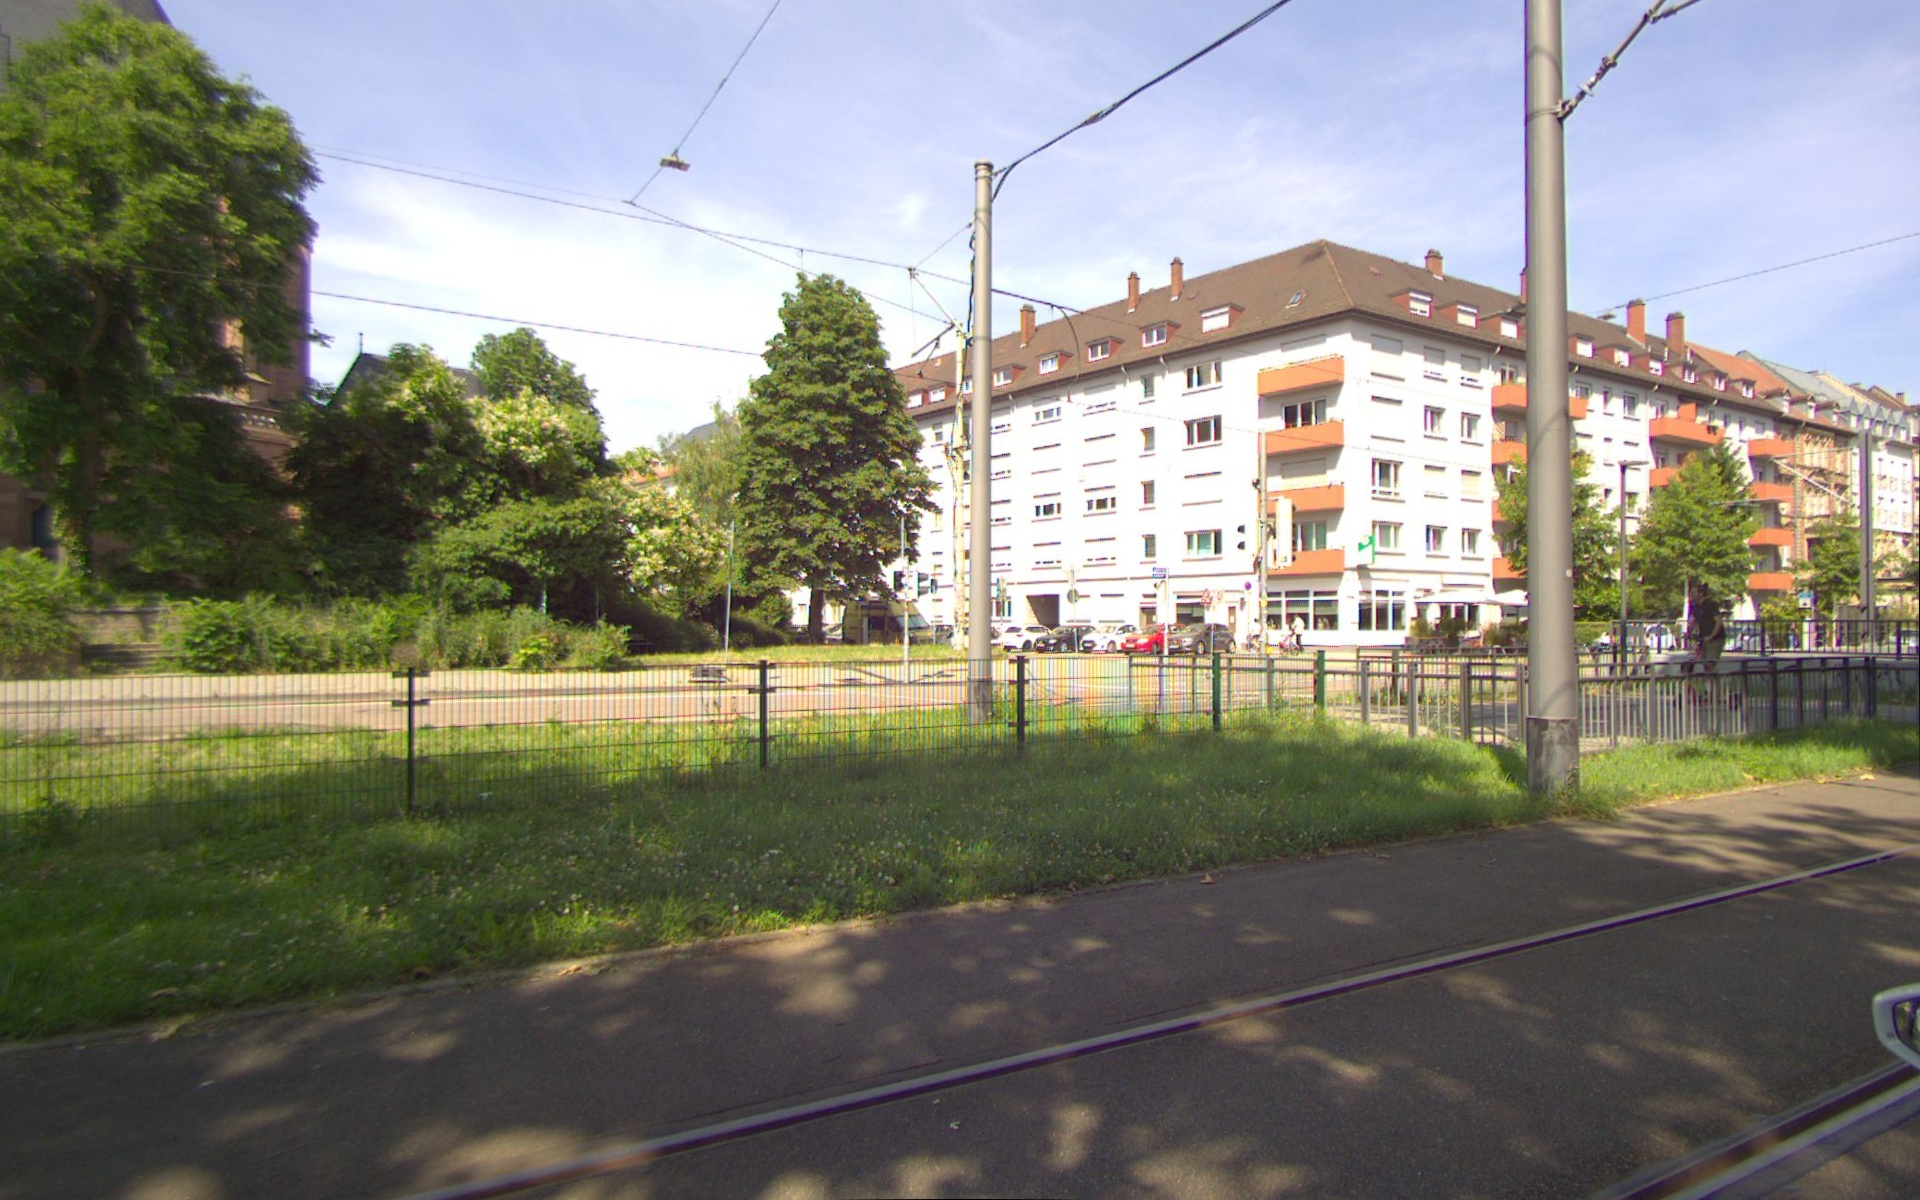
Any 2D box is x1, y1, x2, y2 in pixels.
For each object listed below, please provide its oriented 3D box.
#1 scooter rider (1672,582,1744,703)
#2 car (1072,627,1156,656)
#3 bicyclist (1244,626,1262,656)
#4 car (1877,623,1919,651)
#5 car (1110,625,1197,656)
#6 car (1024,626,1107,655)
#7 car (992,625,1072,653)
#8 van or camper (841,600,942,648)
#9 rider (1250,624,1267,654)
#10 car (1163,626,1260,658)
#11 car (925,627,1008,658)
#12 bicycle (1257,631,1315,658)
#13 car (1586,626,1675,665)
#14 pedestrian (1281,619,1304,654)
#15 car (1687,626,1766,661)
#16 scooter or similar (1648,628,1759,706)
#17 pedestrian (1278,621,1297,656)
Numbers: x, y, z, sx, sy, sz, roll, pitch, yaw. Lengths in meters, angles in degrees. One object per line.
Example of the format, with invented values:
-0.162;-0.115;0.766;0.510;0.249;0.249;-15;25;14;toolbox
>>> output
11.944;0.676;16.059;0.655;1.891;0.664;0;-1;6;scooter rider
7.803;2.070;50.750;4.129;1.425;1.918;1;-2;-38;car
13.975;1.938;47.877;0.616;1.442;0.587;-1;-1;44;bicyclist
53.088;2.074;56.285;3.961;1.518;1.758;1;-1;-36;car
9.346;1.938;48.436;4.129;1.425;1.918;1;-2;-38;car
5.513;2.079;52.314;4.129;1.425;1.918;1;-2;-38;car
3.948;2.105;54.592;4.129;1.425;1.918;1;-1;-38;car
-3.627;1.244;52.112;2.228;2.360;5.704;1;-2;-42;van or camper
14.367;1.875;48.320;0.616;1.442;0.587;-1;-1;44;rider
11.515;1.883;45.843;4.598;1.394;1.821;1;-2;-36;car
0.286;1.987;47.678;3.702;1.425;1.823;-1;-2;44;car
14.277;1.919;43.978;2.779;1.152;0.905;1;-1;-34;bicycle
27.412;1.845;41.026;3.961;1.518;1.759;1;-3;-36;car
15.419;1.685;46.526;0.846;1.593;0.688;-1;-1;36;pedestrian
34.678;1.965;45.399;3.961;1.518;1.759;1;-3;-36;car
11.865;1.057;16.061;1.245;1.220;0.658;0;-1;6;scooter or similar
15.007;1.767;46.054;0.679;1.593;0.544;-1;-1;36;pedestrian
